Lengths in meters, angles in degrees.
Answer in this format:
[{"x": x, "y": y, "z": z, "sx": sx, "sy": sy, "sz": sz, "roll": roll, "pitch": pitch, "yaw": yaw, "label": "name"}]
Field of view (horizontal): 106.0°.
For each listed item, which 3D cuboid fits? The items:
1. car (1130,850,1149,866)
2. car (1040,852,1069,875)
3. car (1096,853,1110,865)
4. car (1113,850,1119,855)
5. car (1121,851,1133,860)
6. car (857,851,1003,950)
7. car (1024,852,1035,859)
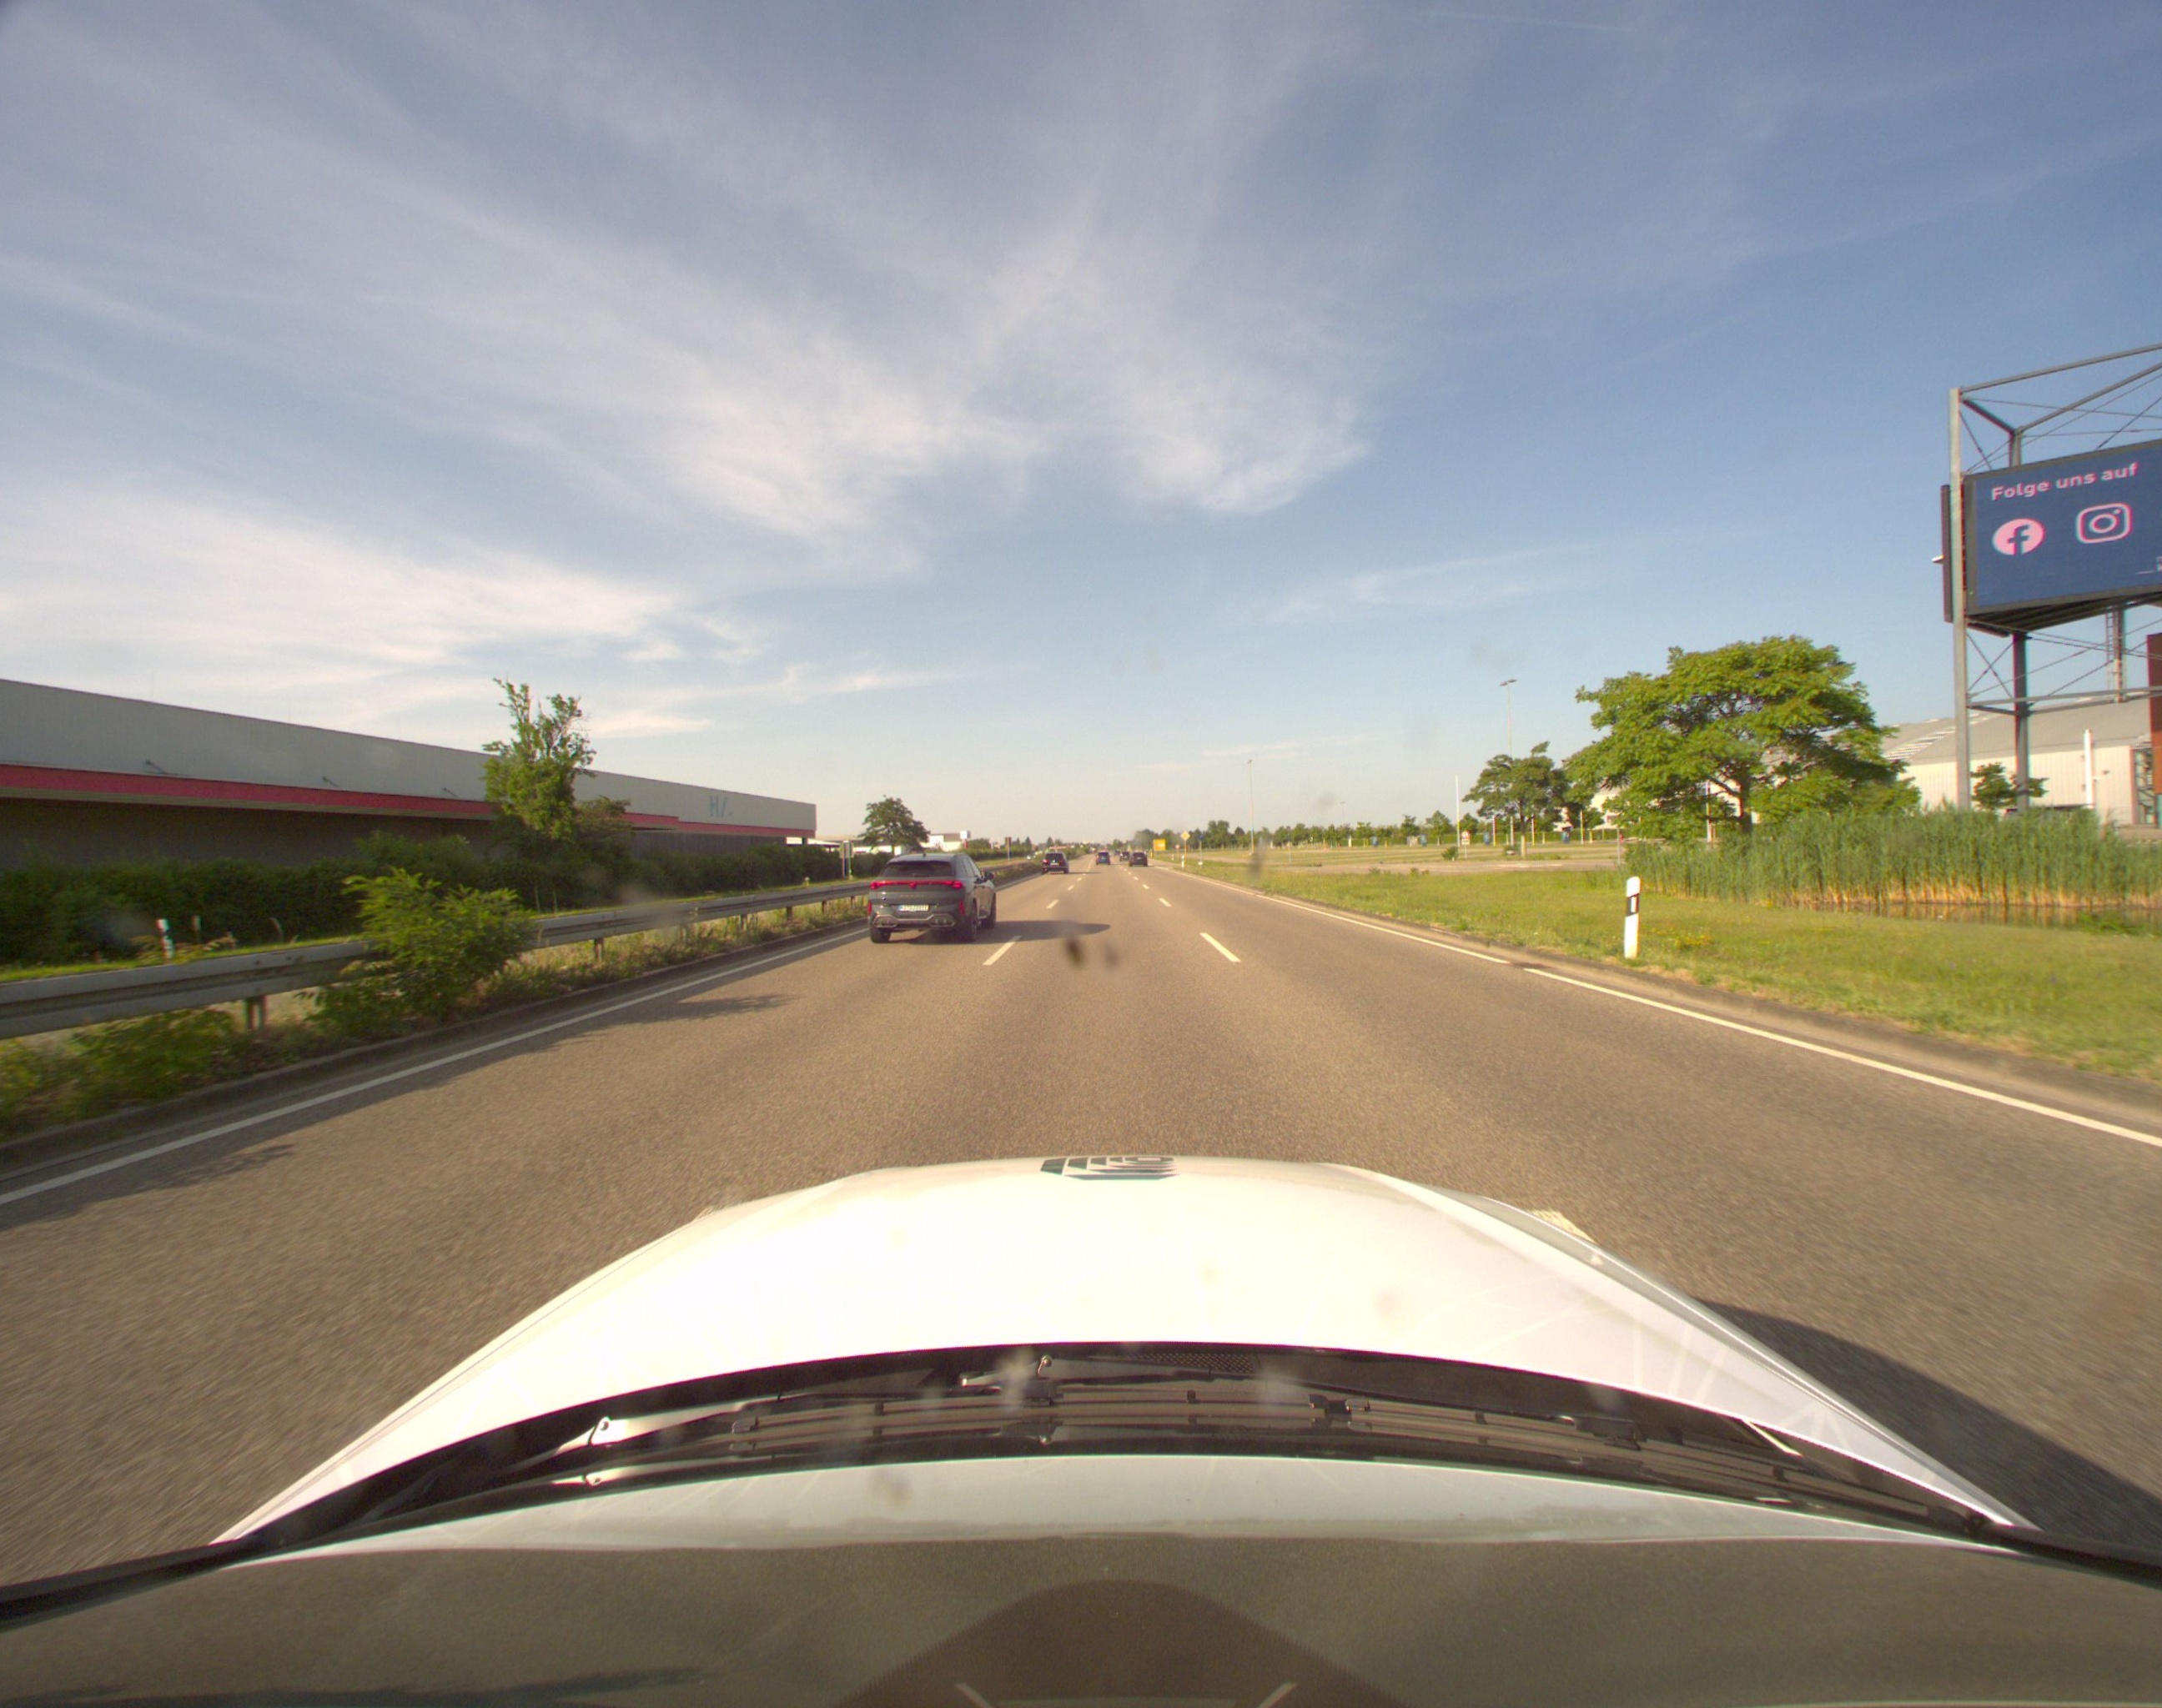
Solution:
[{"x": 6.370, "y": 0.396, "z": 89.515, "sx": 1.925, "sy": 1.680, "sz": 4.403, "roll": 0, "pitch": 0, "yaw": 2, "label": "car"}, {"x": -2.013, "y": 0.681, "z": 62.404, "sx": 1.925, "sy": 1.680, "sz": 4.403, "roll": 0, "pitch": 0, "yaw": 2, "label": "car"}, {"x": 2.781, "y": 0.609, "z": 102.088, "sx": 1.806, "sy": 1.463, "sz": 4.403, "roll": 0, "pitch": 0, "yaw": 2, "label": "car"}, {"x": 8.813, "y": -0.450, "z": 205.360, "sx": 1.497, "sy": 1.313, "sz": 3.157, "roll": 0, "pitch": 0, "yaw": 2, "label": "car"}, {"x": 7.327, "y": 0.268, "z": 130.964, "sx": 1.866, "sy": 1.463, "sz": 3.982, "roll": 0, "pitch": 0, "yaw": 2, "label": "car"}, {"x": -2.719, "y": 0.765, "z": 15.705, "sx": 1.839, "sy": 1.611, "sz": 4.403, "roll": 0, "pitch": 0, "yaw": 2, "label": "car"}, {"x": -10.507, "y": 0.288, "z": 167.506, "sx": 1.772, "sy": 1.424, "sz": 4.002, "roll": -2, "pitch": 0, "yaw": 2, "label": "car"}]
